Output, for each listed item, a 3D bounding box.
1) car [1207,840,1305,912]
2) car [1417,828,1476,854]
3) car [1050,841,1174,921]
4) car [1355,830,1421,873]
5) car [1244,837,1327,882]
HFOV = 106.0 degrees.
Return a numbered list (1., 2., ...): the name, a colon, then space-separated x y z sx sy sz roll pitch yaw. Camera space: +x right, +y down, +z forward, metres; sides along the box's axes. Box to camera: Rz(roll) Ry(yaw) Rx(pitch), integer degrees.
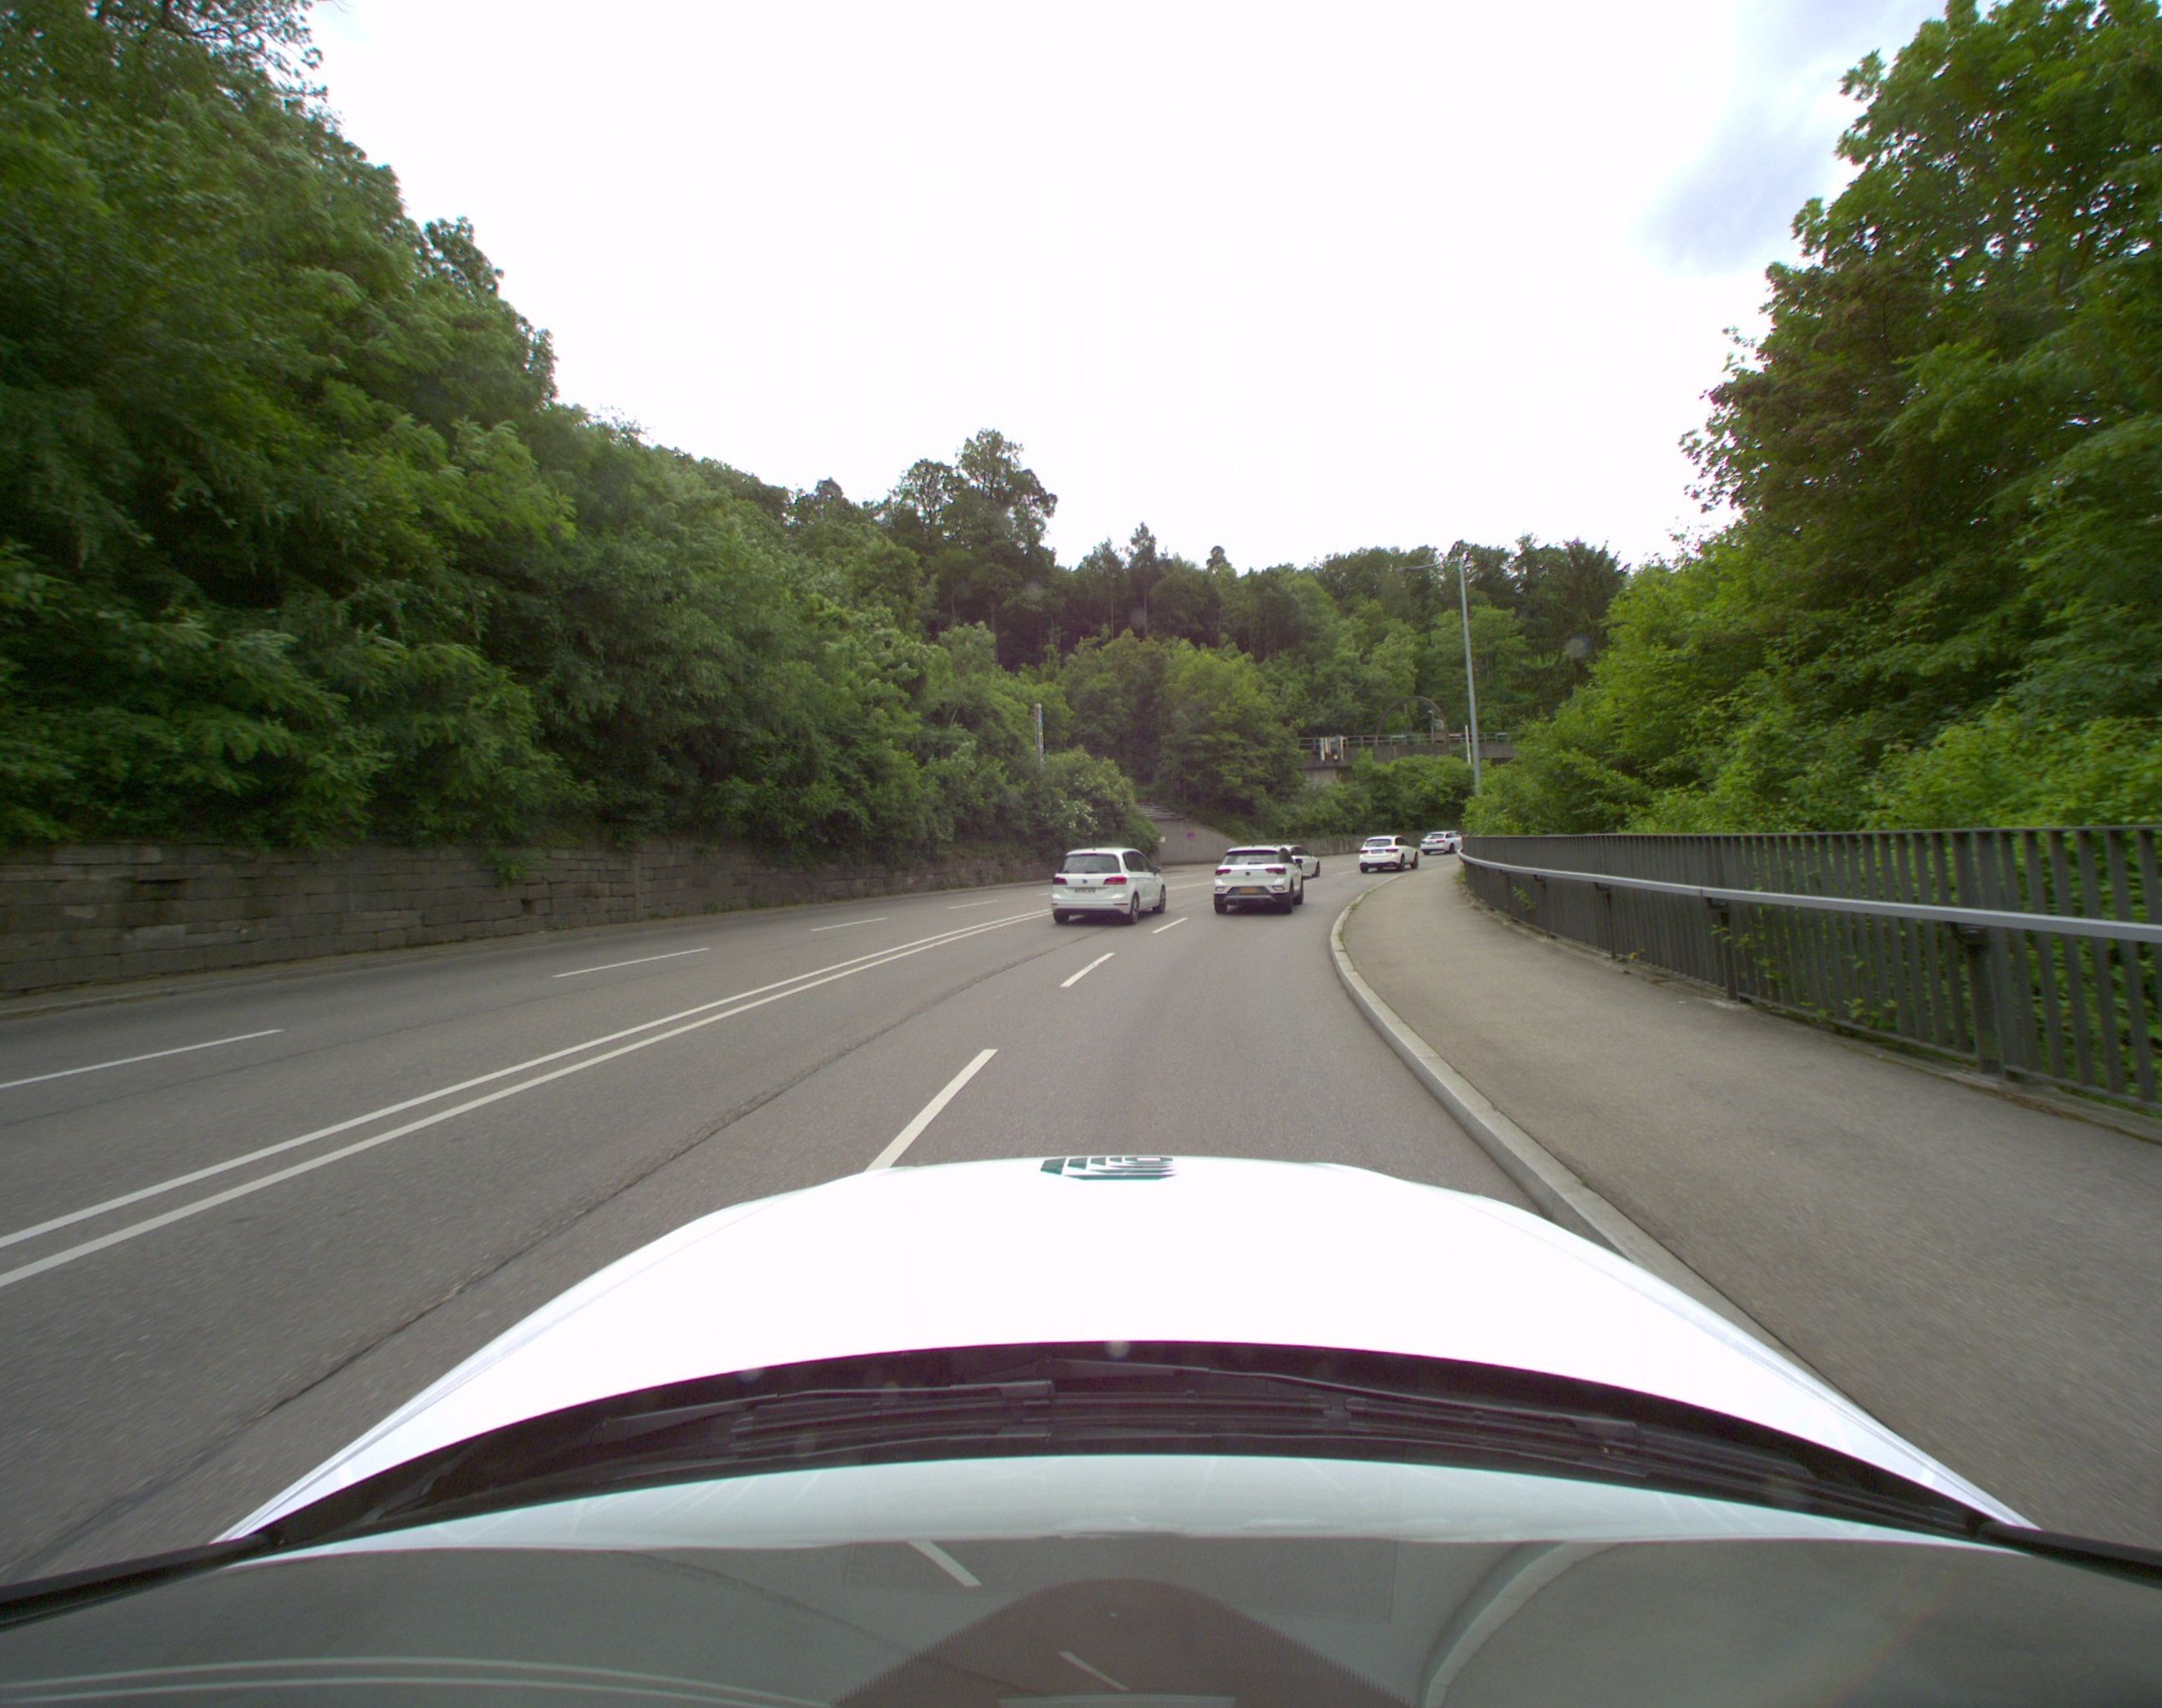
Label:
1. car: 4.374 0.513 19.886 1.799 1.539 4.028 -2 -1 19
2. car: 23.841 -0.837 53.037 4.330 1.519 1.727 2 -2 -39
3. car: 0.833 0.554 18.206 1.707 1.554 4.294 -1 -1 17
4. car: 14.251 -0.060 37.705 1.974 1.843 4.176 0 -2 34
5. car: 8.651 0.192 34.176 1.974 1.557 4.711 -3 1 32
